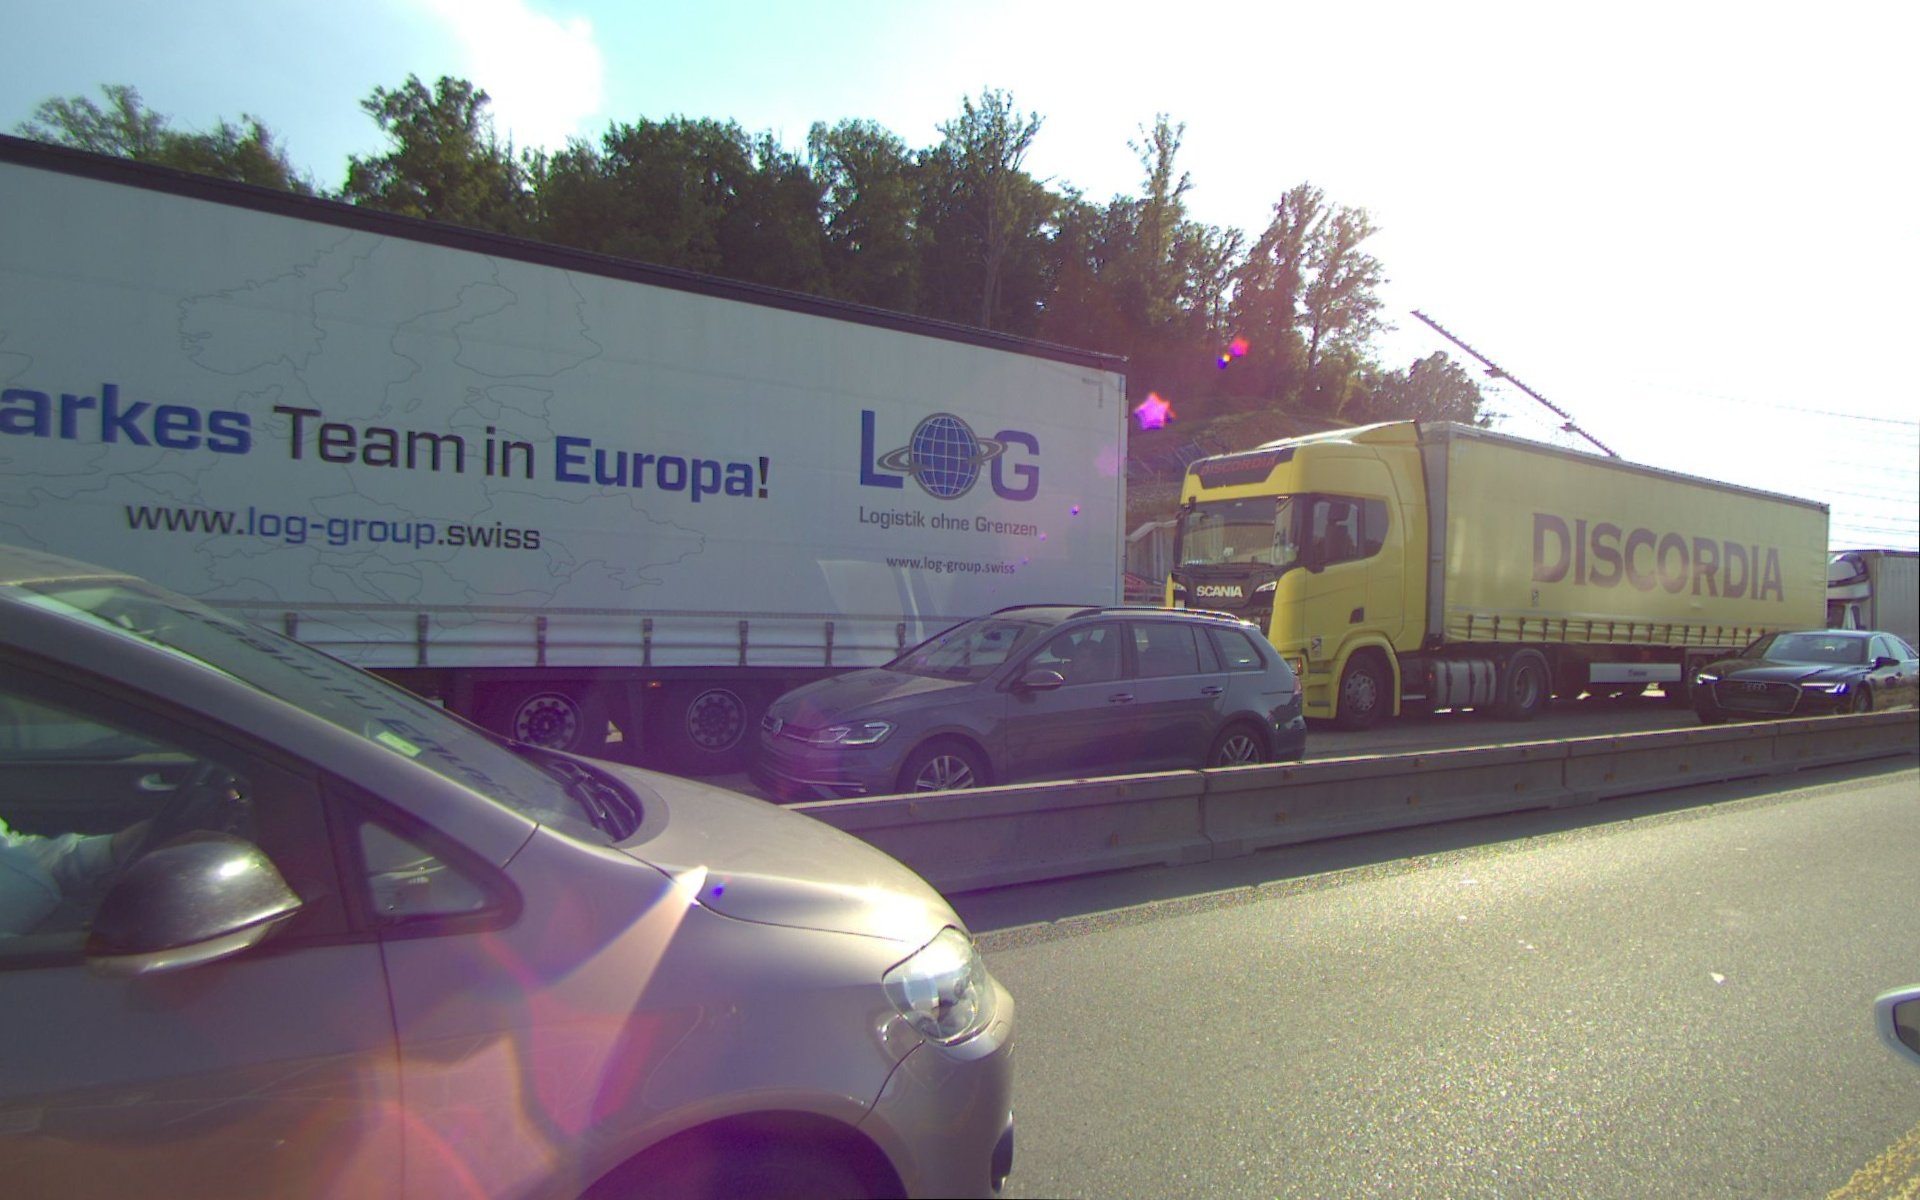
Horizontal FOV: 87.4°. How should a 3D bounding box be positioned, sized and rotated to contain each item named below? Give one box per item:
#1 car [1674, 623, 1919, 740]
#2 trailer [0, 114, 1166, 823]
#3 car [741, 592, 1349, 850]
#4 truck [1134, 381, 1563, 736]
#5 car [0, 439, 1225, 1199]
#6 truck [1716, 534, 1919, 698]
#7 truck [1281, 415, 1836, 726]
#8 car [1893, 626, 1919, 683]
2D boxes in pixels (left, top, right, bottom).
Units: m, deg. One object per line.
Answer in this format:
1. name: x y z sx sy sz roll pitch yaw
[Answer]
1. car: 12.773 1.138 15.014 4.622 1.445 1.798 2 0 -32
2. trailer: -4.571 -0.699 8.035 13.808 4.089 2.843 2 -1 -31
3. car: 0.798 0.750 7.643 4.515 1.448 1.647 2 0 -32
4. truck: 5.705 -0.391 14.475 6.035 4.142 2.698 2 -1 -33
5. car: -1.657 0.606 1.637 4.053 1.595 1.675 2 0 -31
6. truck: 21.541 0.418 24.628 7.538 3.509 2.432 2 0 -34
7. truck: 11.624 -0.177 18.277 14.000 4.142 2.692 2 -1 -33
8. car: 27.999 1.559 28.295 3.963 1.543 1.751 2 0 -36
